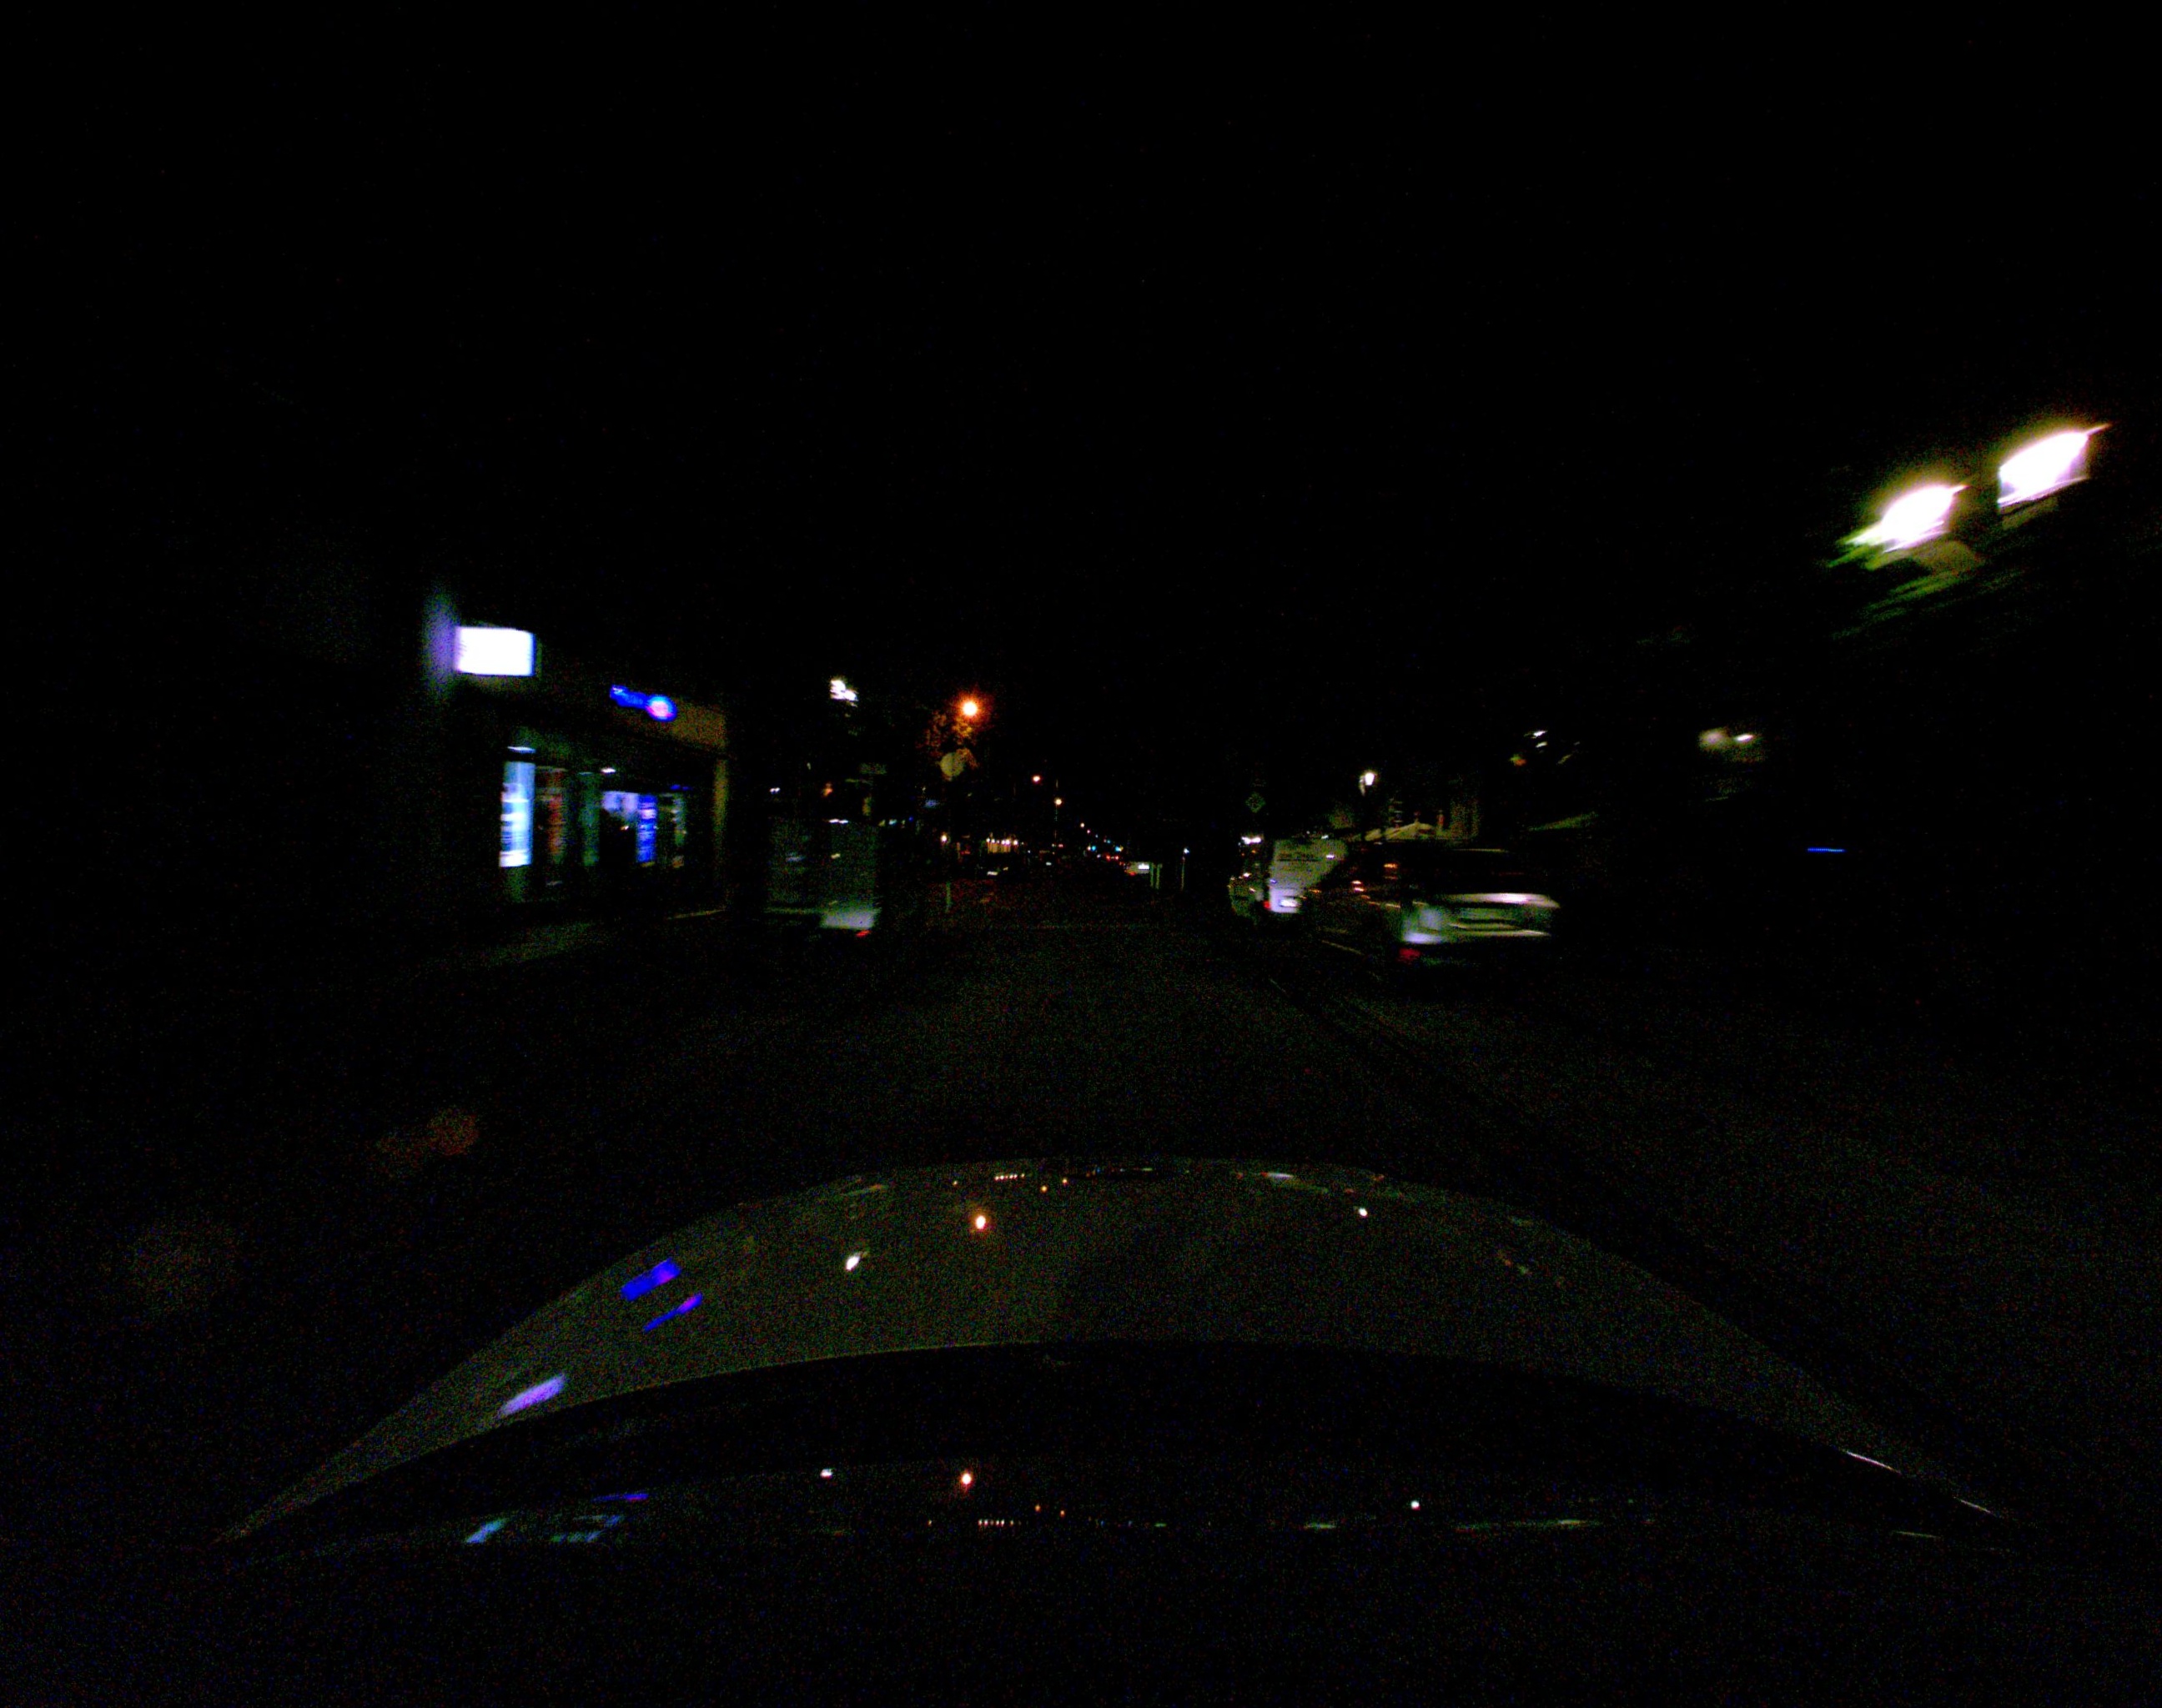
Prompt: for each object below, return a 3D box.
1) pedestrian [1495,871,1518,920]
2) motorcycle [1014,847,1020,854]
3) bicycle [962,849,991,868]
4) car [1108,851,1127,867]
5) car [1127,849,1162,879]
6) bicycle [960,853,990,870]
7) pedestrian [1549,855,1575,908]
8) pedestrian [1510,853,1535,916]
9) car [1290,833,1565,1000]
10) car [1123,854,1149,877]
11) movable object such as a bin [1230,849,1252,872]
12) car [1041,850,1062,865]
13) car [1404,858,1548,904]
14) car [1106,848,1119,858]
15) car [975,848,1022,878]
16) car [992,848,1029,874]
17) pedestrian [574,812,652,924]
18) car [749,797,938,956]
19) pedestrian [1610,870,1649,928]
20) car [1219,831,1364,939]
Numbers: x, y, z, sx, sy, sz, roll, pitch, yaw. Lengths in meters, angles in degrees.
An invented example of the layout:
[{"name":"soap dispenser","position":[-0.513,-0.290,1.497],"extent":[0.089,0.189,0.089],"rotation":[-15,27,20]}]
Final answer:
[{"name":"pedestrian","position":[10.607,1.023,20.301],"extent":[0.385,1.168,0.522],"rotation":[1,0,37]},{"name":"motorcycle","position":[-9.322,-0.551,118.840],"extent":[0.475,1.020,1.681],"rotation":[2,0,12]},{"name":"bicycle","position":[-7.027,0.300,54.939],"extent":[1.844,1.254,0.533],"rotation":[1,0,1]},{"name":"car","position":[3.435,0.434,76.351],"extent":[1.757,1.414,4.811],"rotation":[1,0,3]},{"name":"car","position":[3.395,0.515,43.977],"extent":[1.763,1.537,4.219],"rotation":[0,0,2]},{"name":"bicycle","position":[-7.066,0.482,54.315],"extent":[1.844,1.035,0.533],"rotation":[3,0,1]},{"name":"pedestrian","position":[12.015,0.677,20.324],"extent":[0.522,1.264,0.505],"rotation":[2,0,32]},{"name":"pedestrian","position":[11.472,0.786,21.155],"extent":[0.476,1.587,0.374],"rotation":[1,0,37]},{"name":"car","position":[4.053,0.617,10.374],"extent":[1.678,1.659,4.296],"rotation":[1,0,0]},{"name":"car","position":[3.877,0.777,57.641],"extent":[1.683,1.536,4.018],"rotation":[2,0,2]},{"name":"movable object such as a bin","position":[10.008,0.398,50.978],"extent":[1.156,1.371,0.993],"rotation":[2,0,0]},{"name":"car","position":[-2.975,0.360,82.408],"extent":[1.734,1.413,4.498],"rotation":[3,0,3]},{"name":"car","position":[14.107,0.950,29.257],"extent":[4.300,1.531,1.803],"rotation":[1,-1,0]},{"name":"car","position":[5.197,-0.122,134.234],"extent":[1.986,1.643,4.002],"rotation":[1,0,2]},{"name":"car","position":[-4.435,0.452,44.655],"extent":[1.800,1.425,4.924],"rotation":[4,0,2]},{"name":"car","position":[-4.347,0.424,50.724],"extent":[1.715,1.428,3.979],"rotation":[4,0,2]},{"name":"pedestrian","position":[-7.448,0.216,12.990],"extent":[0.666,1.719,0.909],"rotation":[1,0,2]},{"name":"car","position":[-3.728,0.297,13.811],"extent":[1.848,2.087,5.084],"rotation":[4,0,-3]},{"name":"pedestrian","position":[12.561,1.014,18.664],"extent":[0.675,1.264,0.532],"rotation":[2,0,29]},{"name":"car","position":[4.025,0.520,16.383],"extent":[1.782,1.822,4.580],"rotation":[1,0,1]}]
